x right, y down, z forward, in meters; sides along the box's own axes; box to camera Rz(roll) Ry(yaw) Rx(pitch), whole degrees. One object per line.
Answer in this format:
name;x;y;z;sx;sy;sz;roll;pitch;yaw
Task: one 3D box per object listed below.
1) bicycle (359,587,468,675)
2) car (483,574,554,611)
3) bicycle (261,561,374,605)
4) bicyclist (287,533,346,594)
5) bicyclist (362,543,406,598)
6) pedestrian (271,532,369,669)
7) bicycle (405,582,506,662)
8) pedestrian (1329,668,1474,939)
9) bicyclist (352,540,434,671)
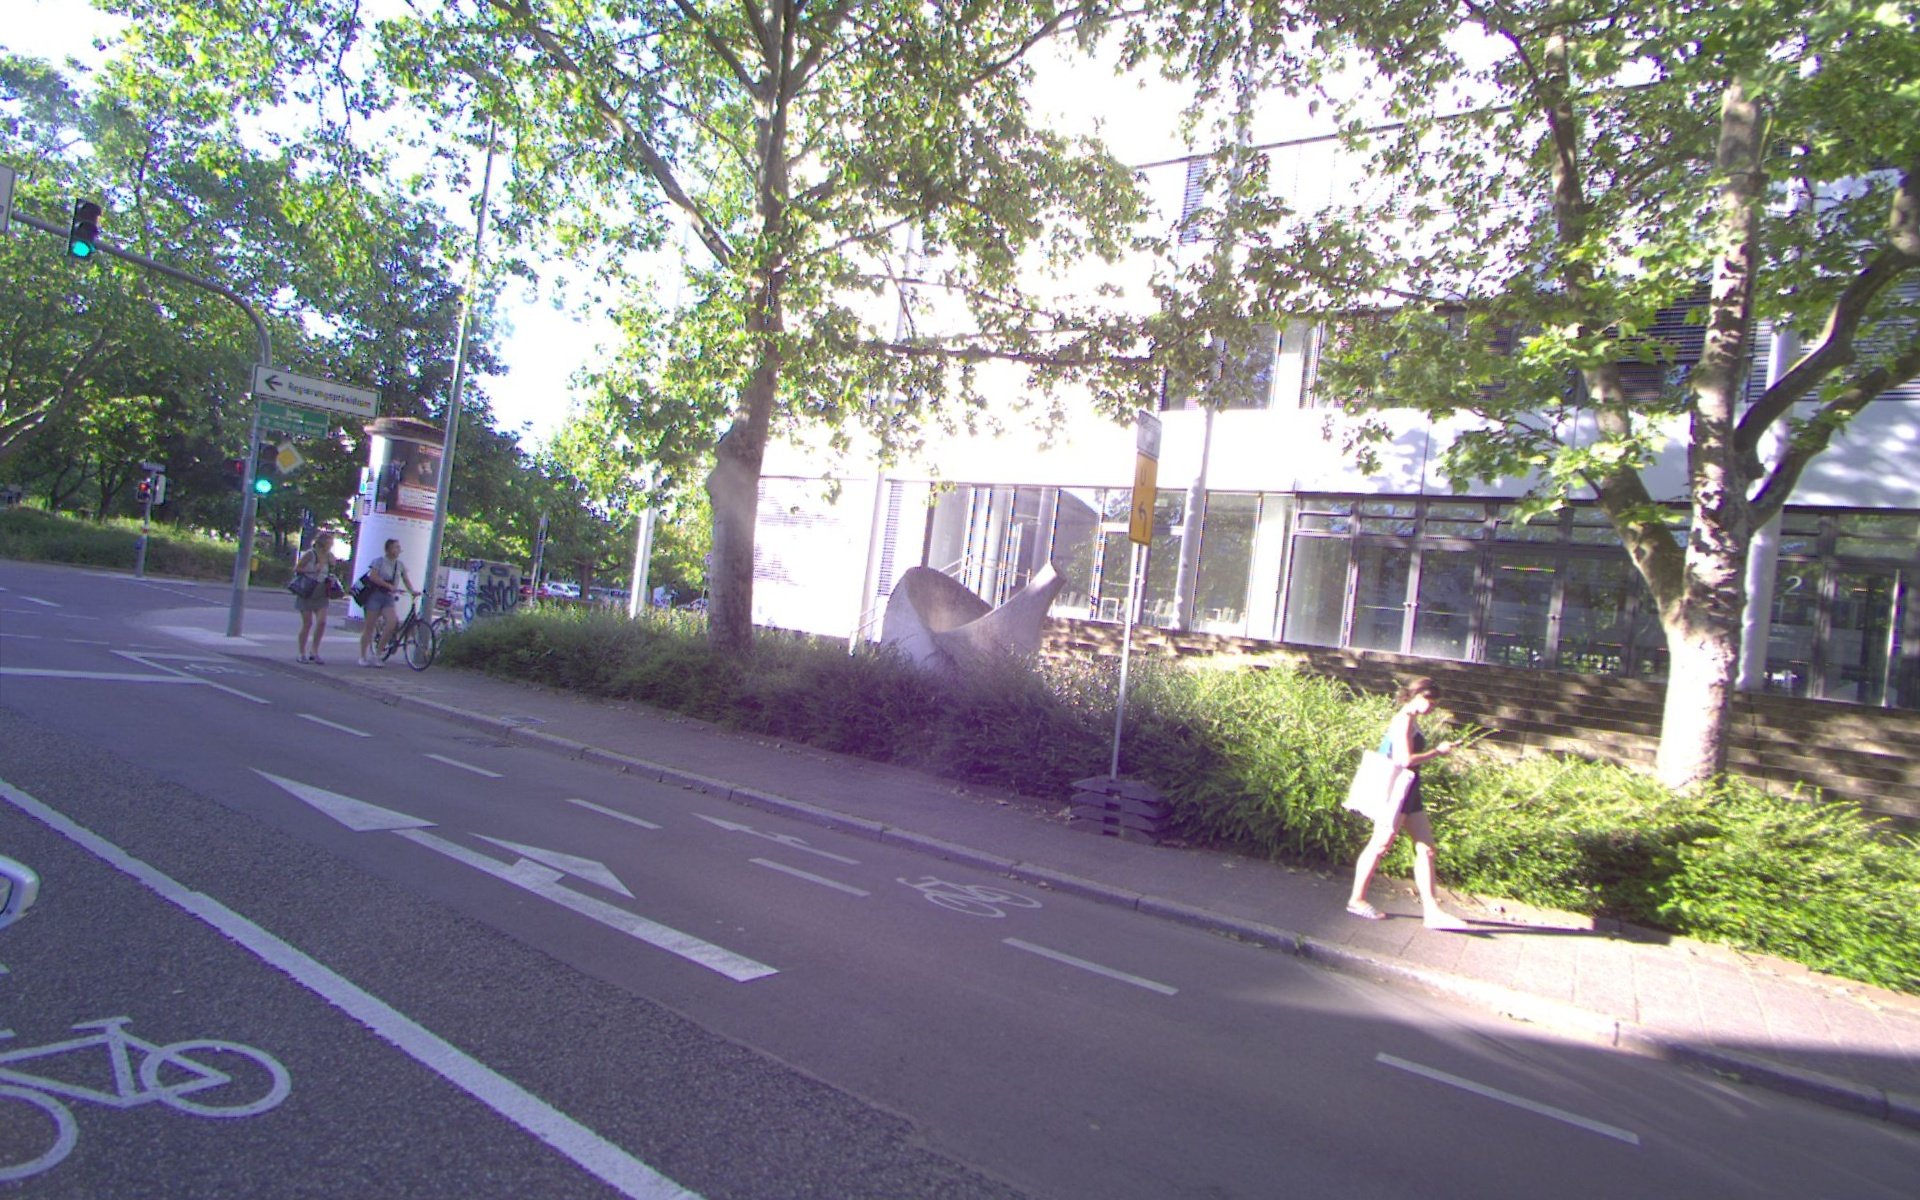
bicycle;-7.790;0.433;14.322;1.620;1.046;0.522;6;-2;32
car;-27.191;-0.463;61.908;3.935;1.800;1.997;6;-2;32
bicycle;-21.213;-0.546;33.297;0.926;1.050;3.004;6;-3;29
bicyclist;-21.203;-1.198;33.153;0.961;1.829;1.130;6;-2;30
bicyclist;-18.009;-0.940;31.460;0.942;1.565;1.118;8;1;-26
pedestrian;-8.565;0.012;13.474;0.681;1.740;0.774;5;-1;31
bicycle;-8.311;0.384;16.661;0.462;1.196;1.995;6;-2;3
pedestrian;2.914;1.299;6.630;0.671;1.612;0.462;6;-1;31
bicyclist;-7.852;0.085;13.942;0.644;1.734;0.633;4;-1;31
